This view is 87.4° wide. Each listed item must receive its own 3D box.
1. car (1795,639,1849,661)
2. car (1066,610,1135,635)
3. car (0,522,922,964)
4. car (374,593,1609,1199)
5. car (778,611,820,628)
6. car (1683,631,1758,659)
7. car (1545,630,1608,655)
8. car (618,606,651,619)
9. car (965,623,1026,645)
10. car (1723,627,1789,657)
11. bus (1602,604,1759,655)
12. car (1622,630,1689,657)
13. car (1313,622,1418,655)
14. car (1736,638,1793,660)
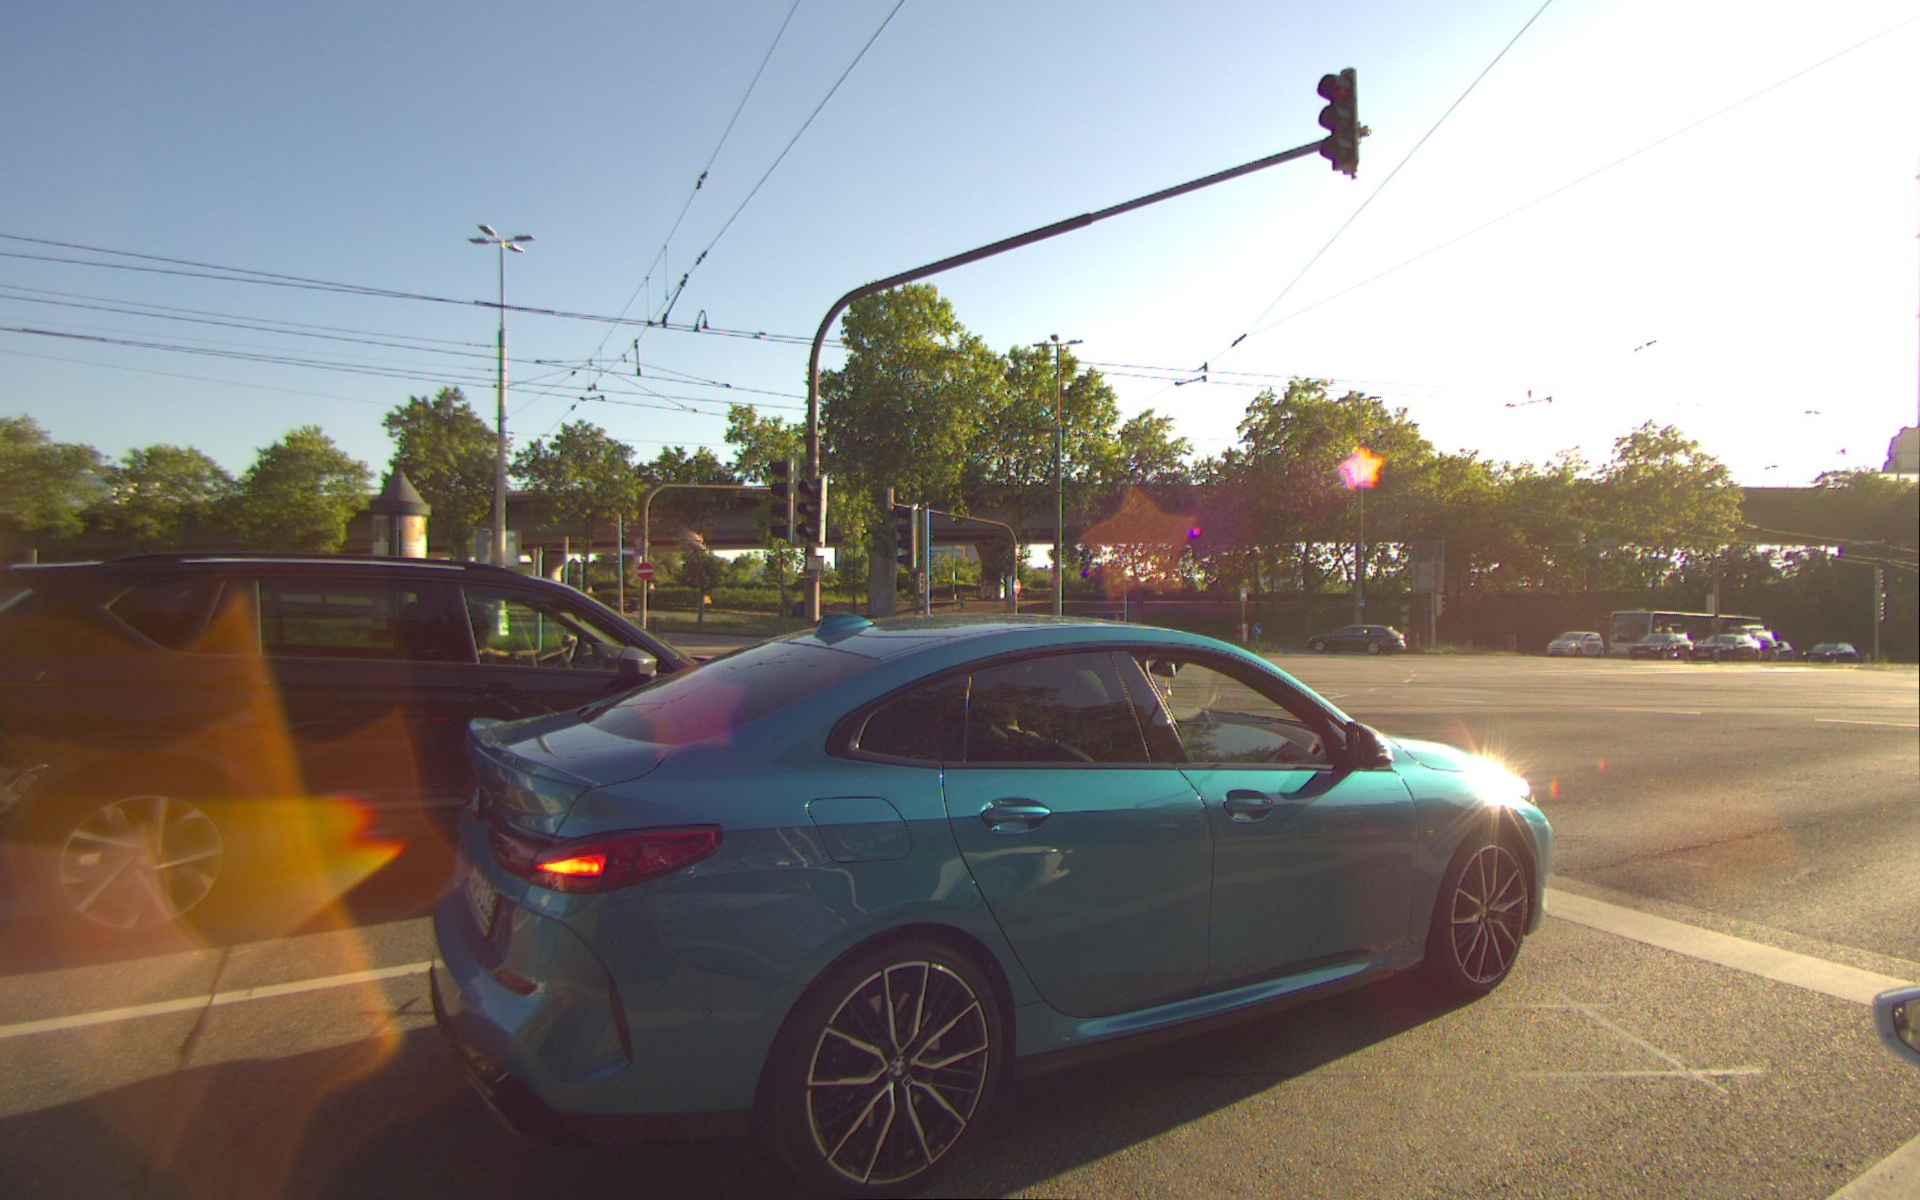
[{"bbox_3d":[60.892,3.490,70.932,3.952,1.461,1.692,2,-1,-30],"label":"car"},{"bbox_3d":[9.563,1.513,68.560,1.983,1.644,4.483,2,-1,-39],"label":"car"},{"bbox_3d":[-2.662,0.597,5.635,4.550,1.704,1.905,2,-1,-32],"label":"car"},{"bbox_3d":[0.415,0.759,3.798,4.465,1.436,1.774,2,-1,-33],"label":"car"},{"bbox_3d":[-14.990,1.767,93.209,1.981,1.473,4.488,2,-1,-36],"label":"car"},{"bbox_3d":[39.664,2.336,52.383,4.046,1.372,1.703,2,-1,-30],"label":"car"},{"bbox_3d":[35.180,2.429,57.311,3.693,1.372,1.595,2,-1,-32],"label":"car"},{"bbox_3d":[-36.962,1.406,113.912,1.984,1.473,4.482,2,-1,-40],"label":"car"},{"bbox_3d":[2.503,2.423,71.725,1.982,1.473,4.485,2,-1,-38],"label":"car"},{"bbox_3d":[47.283,2.484,59.678,4.046,1.674,1.703,2,-1,-30],"label":"car"},{"bbox_3d":[45.465,1.887,63.172,12.693,2.993,2.811,2,-1,-28],"label":"bus"},{"bbox_3d":[37.853,2.352,54.629,3.956,1.372,1.595,2,-1,-32],"label":"car"},{"bbox_3d":[20.262,1.890,50.257,1.987,1.473,4.474,2,-1,-45],"label":"car"},{"bbox_3d":[54.697,3.325,68.313,3.952,1.461,1.692,2,-1,-30],"label":"car"}]
